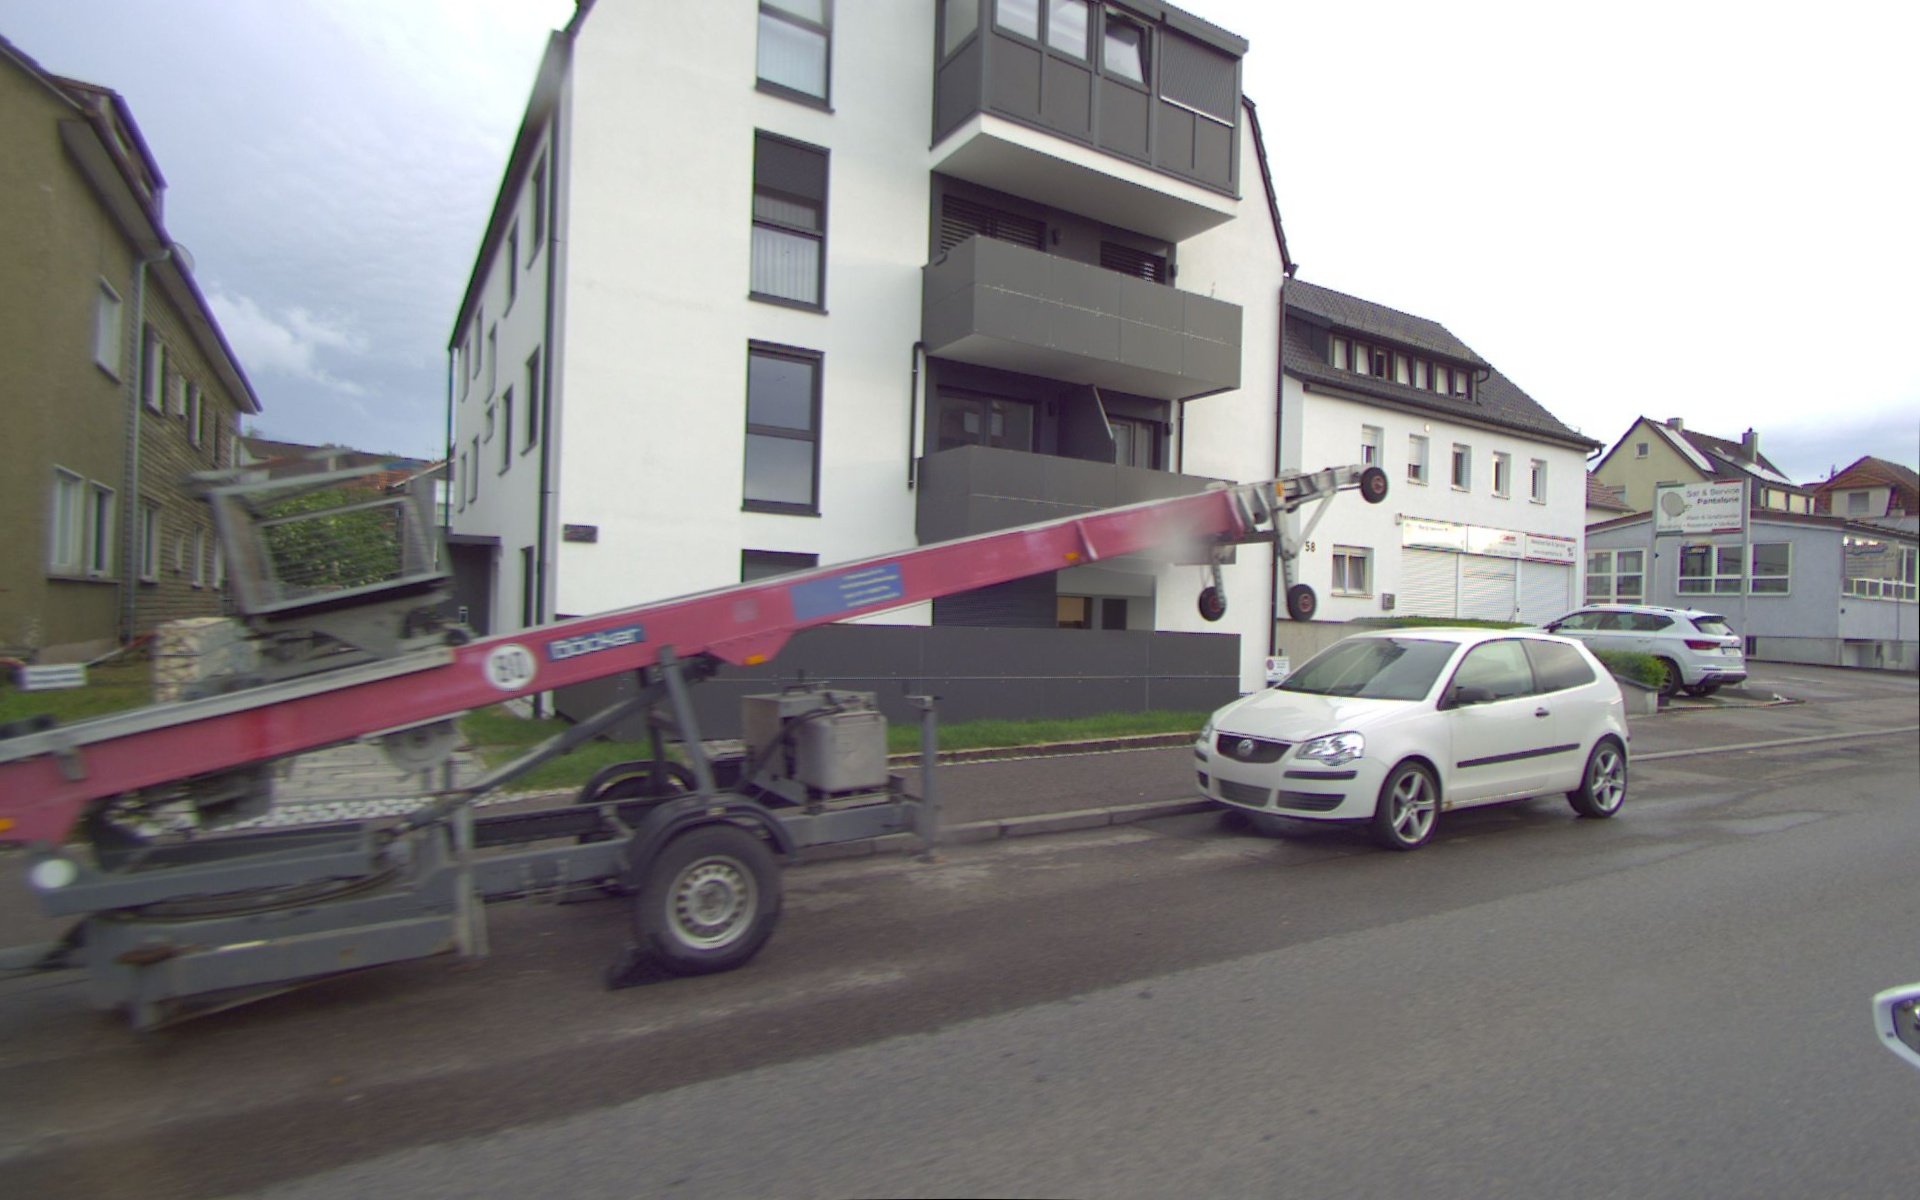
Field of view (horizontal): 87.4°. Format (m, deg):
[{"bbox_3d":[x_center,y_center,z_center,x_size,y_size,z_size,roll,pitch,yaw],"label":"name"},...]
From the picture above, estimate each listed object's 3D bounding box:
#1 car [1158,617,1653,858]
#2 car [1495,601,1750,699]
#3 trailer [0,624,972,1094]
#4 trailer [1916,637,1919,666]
[{"bbox_3d":[3.615,0.923,7.970,3.953,1.452,1.549,2,1,-30],"label":"car"},{"bbox_3d":[12.627,0.889,19.369,1.636,1.589,3.740,1,1,-31],"label":"car"},{"bbox_3d":[-2.573,0.850,4.343,5.186,1.277,1.707,-1,2,-32],"label":"trailer"},{"bbox_3d":[35.001,1.874,33.664,1.636,1.008,4.001,1,1,-31],"label":"trailer"}]
